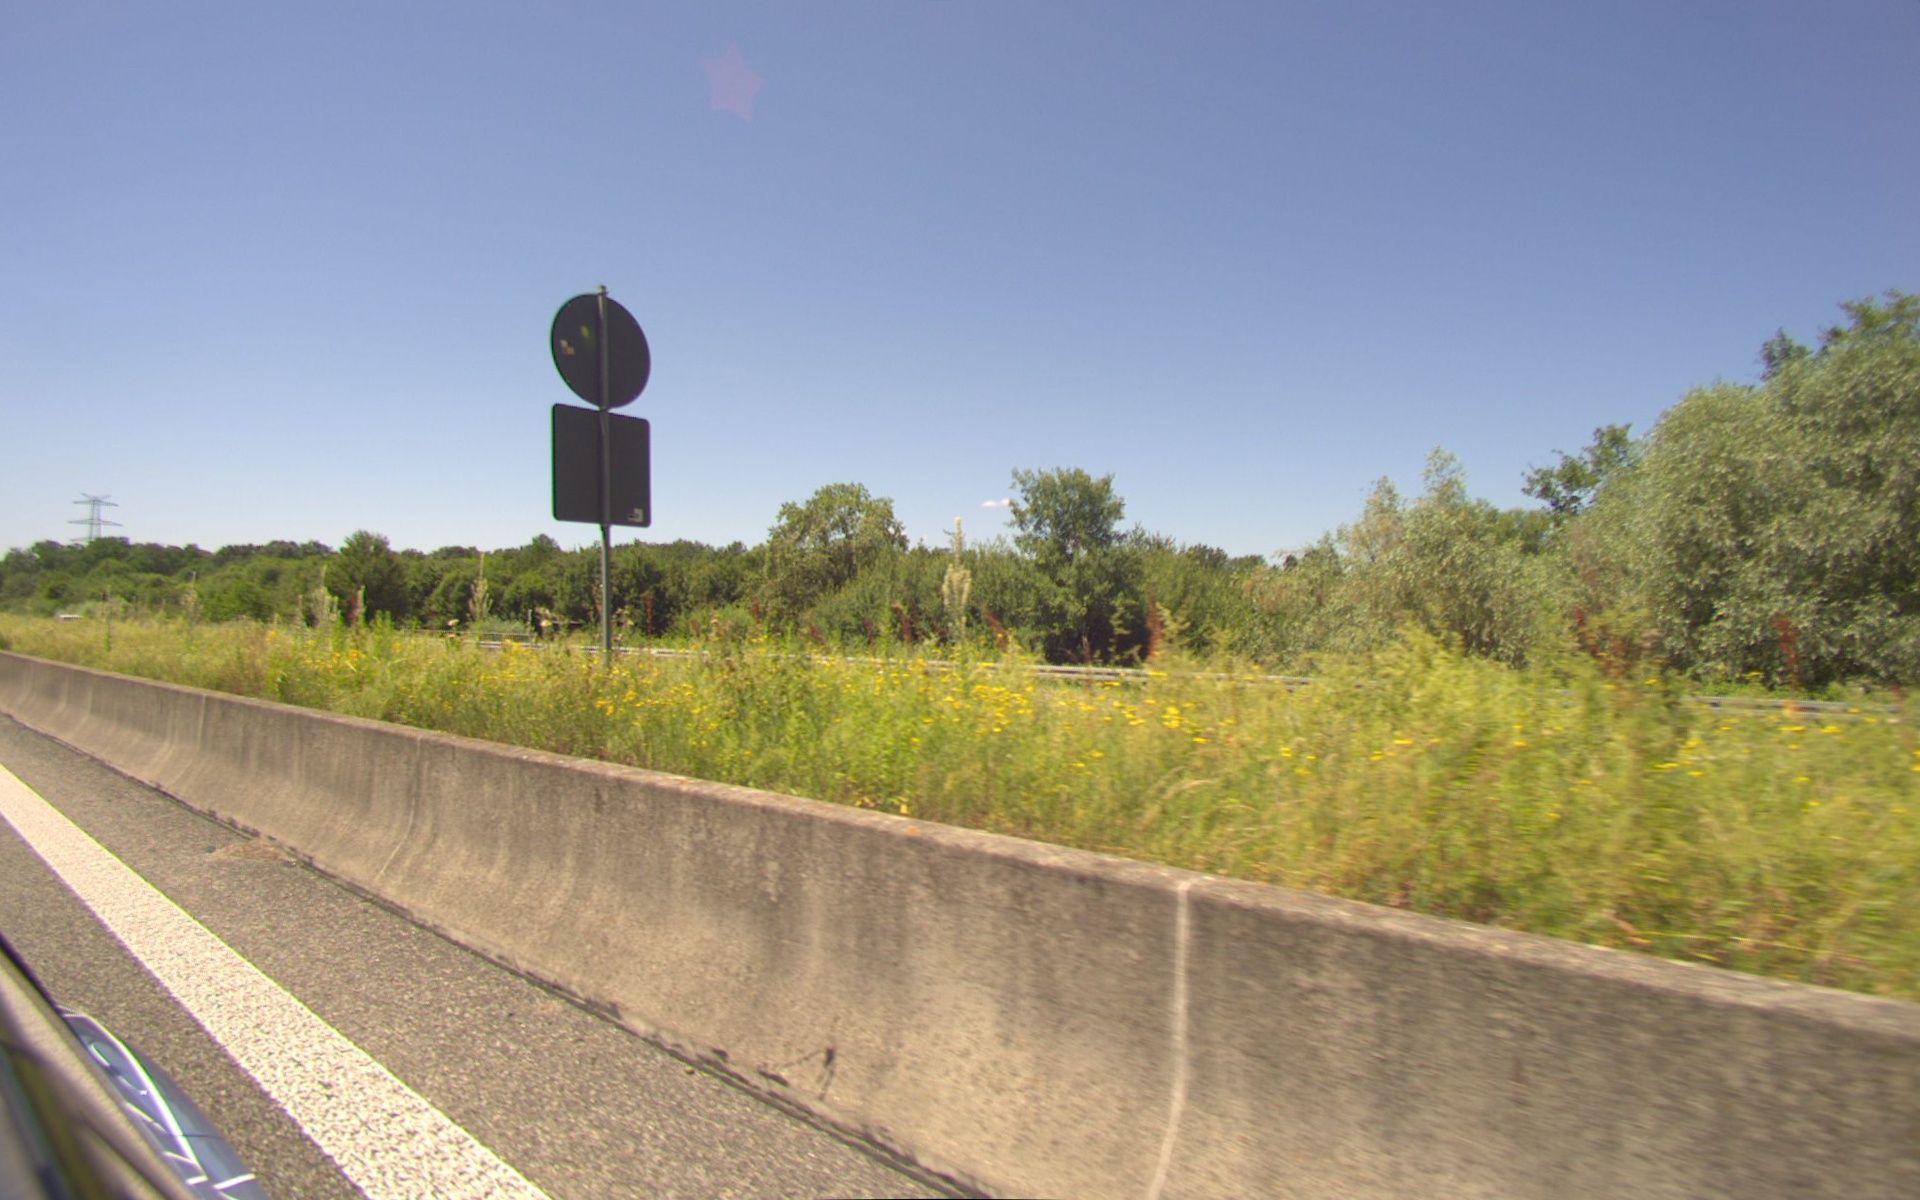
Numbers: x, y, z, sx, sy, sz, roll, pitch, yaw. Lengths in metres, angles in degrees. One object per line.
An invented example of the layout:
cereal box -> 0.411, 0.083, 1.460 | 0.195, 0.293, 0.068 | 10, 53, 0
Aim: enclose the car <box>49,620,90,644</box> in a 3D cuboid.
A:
car -> -64.815, 2.300, 73.643 | 3.998, 1.657, 1.631 | -1, -2, 41
